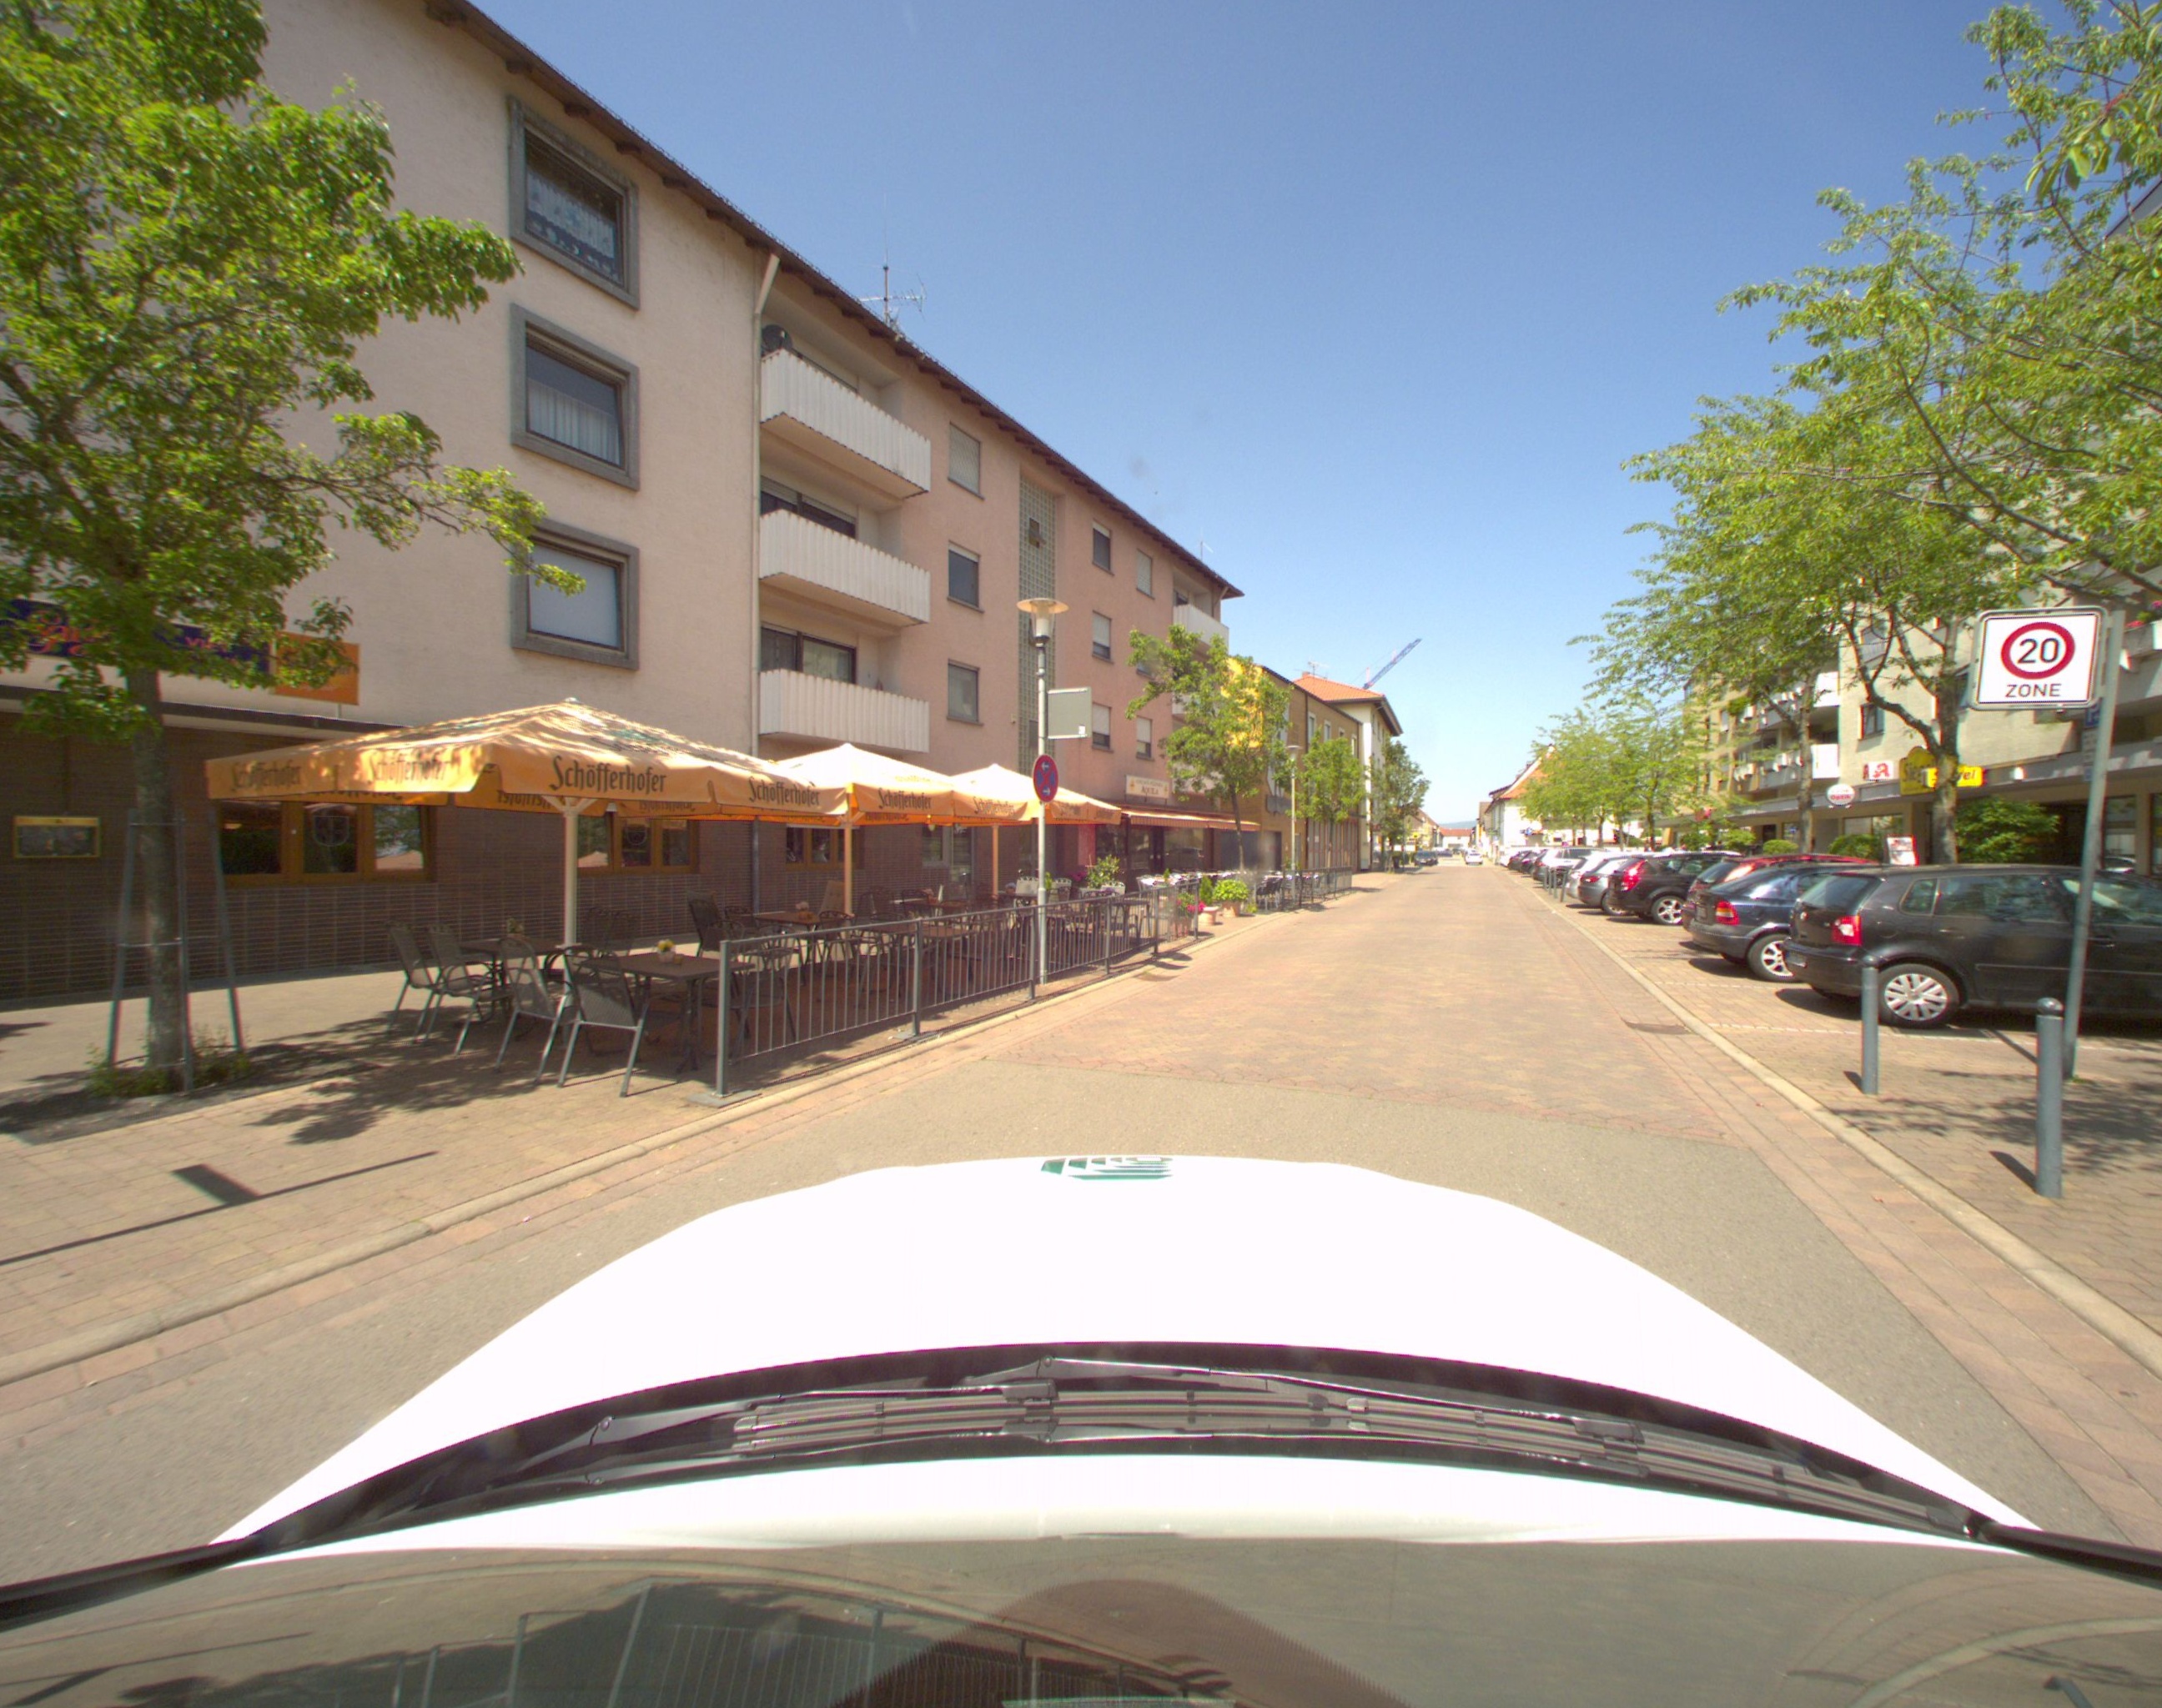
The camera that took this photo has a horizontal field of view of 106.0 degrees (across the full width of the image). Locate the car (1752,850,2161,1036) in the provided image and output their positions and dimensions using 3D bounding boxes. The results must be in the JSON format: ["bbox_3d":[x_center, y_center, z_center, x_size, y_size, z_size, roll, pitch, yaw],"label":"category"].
[{"bbox_3d":[8.991,0.729,7.562,3.923,1.510,1.782,-1,0,24],"label":"car"}]

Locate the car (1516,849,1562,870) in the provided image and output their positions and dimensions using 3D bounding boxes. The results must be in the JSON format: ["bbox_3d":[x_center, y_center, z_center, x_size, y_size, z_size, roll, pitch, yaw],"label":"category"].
[{"bbox_3d":[38.263,0.419,68.099,3.317,1.715,1.479,0,0,25],"label":"car"}]

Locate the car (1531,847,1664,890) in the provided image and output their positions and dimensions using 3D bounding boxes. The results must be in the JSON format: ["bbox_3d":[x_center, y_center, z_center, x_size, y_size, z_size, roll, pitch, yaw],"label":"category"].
[{"bbox_3d":[20.017,0.520,31.760,4.205,1.615,1.567,0,0,25],"label":"car"}]

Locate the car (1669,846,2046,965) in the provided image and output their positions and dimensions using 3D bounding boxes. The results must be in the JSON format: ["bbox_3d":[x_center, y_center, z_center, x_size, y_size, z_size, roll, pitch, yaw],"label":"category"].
[{"bbox_3d":[11.238,0.699,12.171,3.689,1.534,1.776,-1,0,26],"label":"car"}]

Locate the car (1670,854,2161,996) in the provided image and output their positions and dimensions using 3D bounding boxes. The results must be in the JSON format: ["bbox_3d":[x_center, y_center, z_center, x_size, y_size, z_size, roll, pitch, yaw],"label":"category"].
[{"bbox_3d":[9.917,0.772,10.017,4.059,1.431,1.794,-1,1,25],"label":"car"}]

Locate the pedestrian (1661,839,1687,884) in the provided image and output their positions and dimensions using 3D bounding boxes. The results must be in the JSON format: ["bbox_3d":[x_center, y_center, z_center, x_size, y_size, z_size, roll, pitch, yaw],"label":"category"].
[{"bbox_3d":[23.824,0.296,32.719,0.829,1.787,0.812,0,1,38],"label":"pedestrian"}]

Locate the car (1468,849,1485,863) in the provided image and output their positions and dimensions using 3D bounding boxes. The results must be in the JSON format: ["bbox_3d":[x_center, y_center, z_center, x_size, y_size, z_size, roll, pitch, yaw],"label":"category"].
[{"bbox_3d":[47.581,0.213,98.071,1.814,1.532,3.969,0,1,26],"label":"car"}]

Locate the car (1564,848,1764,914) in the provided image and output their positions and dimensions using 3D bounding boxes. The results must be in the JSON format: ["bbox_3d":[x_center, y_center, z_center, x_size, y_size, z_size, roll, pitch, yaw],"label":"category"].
[{"bbox_3d":[15.240,0.651,21.587,4.114,1.574,1.769,0,1,27],"label":"car"}]

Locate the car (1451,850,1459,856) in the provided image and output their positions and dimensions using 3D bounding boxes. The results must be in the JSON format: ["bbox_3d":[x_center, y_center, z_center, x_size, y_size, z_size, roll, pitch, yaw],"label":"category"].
[{"bbox_3d":[98.329,-0.346,213.931,1.731,1.481,3.651,0,1,27],"label":"car"}]

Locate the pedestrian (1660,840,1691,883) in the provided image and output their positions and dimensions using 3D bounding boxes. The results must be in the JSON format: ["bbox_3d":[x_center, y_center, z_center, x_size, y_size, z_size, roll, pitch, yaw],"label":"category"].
[{"bbox_3d":[24.858,0.304,34.060,0.830,1.787,0.811,0,1,20],"label":"pedestrian"}]

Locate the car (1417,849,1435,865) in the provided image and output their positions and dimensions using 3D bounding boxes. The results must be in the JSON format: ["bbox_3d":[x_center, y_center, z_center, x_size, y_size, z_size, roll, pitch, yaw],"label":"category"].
[{"bbox_3d":[35.172,0.259,83.028,1.494,1.500,3.850,0,1,26],"label":"car"}]

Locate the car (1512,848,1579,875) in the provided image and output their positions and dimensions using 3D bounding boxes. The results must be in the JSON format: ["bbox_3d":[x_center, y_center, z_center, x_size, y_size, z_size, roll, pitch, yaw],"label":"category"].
[{"bbox_3d":[28.801,0.448,50.618,3.490,1.624,1.720,0,0,25],"label":"car"}]

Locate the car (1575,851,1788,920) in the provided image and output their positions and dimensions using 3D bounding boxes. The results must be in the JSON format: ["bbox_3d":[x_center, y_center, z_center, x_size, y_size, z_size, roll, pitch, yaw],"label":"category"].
[{"bbox_3d":[13.946,0.676,19.234,3.899,1.489,1.726,0,0,31],"label":"car"}]

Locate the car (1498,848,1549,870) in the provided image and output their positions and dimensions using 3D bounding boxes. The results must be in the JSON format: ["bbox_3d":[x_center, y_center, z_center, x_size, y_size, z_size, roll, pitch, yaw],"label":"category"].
[{"bbox_3d":[35.768,0.389,65.873,3.449,1.700,1.544,-1,-1,21],"label":"car"}]

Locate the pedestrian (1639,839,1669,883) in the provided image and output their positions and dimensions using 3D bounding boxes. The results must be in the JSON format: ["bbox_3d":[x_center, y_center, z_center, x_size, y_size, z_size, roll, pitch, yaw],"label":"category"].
[{"bbox_3d":[23.847,0.271,33.883,0.830,1.787,0.811,0,1,20],"label":"pedestrian"}]

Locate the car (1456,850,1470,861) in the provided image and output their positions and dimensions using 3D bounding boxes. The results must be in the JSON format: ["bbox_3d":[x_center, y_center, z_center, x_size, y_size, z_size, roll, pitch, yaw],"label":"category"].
[{"bbox_3d":[54.679,0.181,116.599,1.731,1.481,3.651,0,1,27],"label":"car"}]

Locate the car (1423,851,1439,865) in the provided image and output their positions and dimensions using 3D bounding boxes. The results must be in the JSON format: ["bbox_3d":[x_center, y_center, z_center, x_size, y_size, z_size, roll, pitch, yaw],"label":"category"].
[{"bbox_3d":[40.375,0.451,93.870,1.494,1.500,3.850,0,1,26],"label":"car"}]

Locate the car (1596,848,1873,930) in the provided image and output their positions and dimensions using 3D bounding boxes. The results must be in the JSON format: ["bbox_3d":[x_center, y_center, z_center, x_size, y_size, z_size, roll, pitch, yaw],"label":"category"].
[{"bbox_3d":[13.397,0.659,17.047,4.145,1.541,1.956,0,0,22],"label":"car"}]
